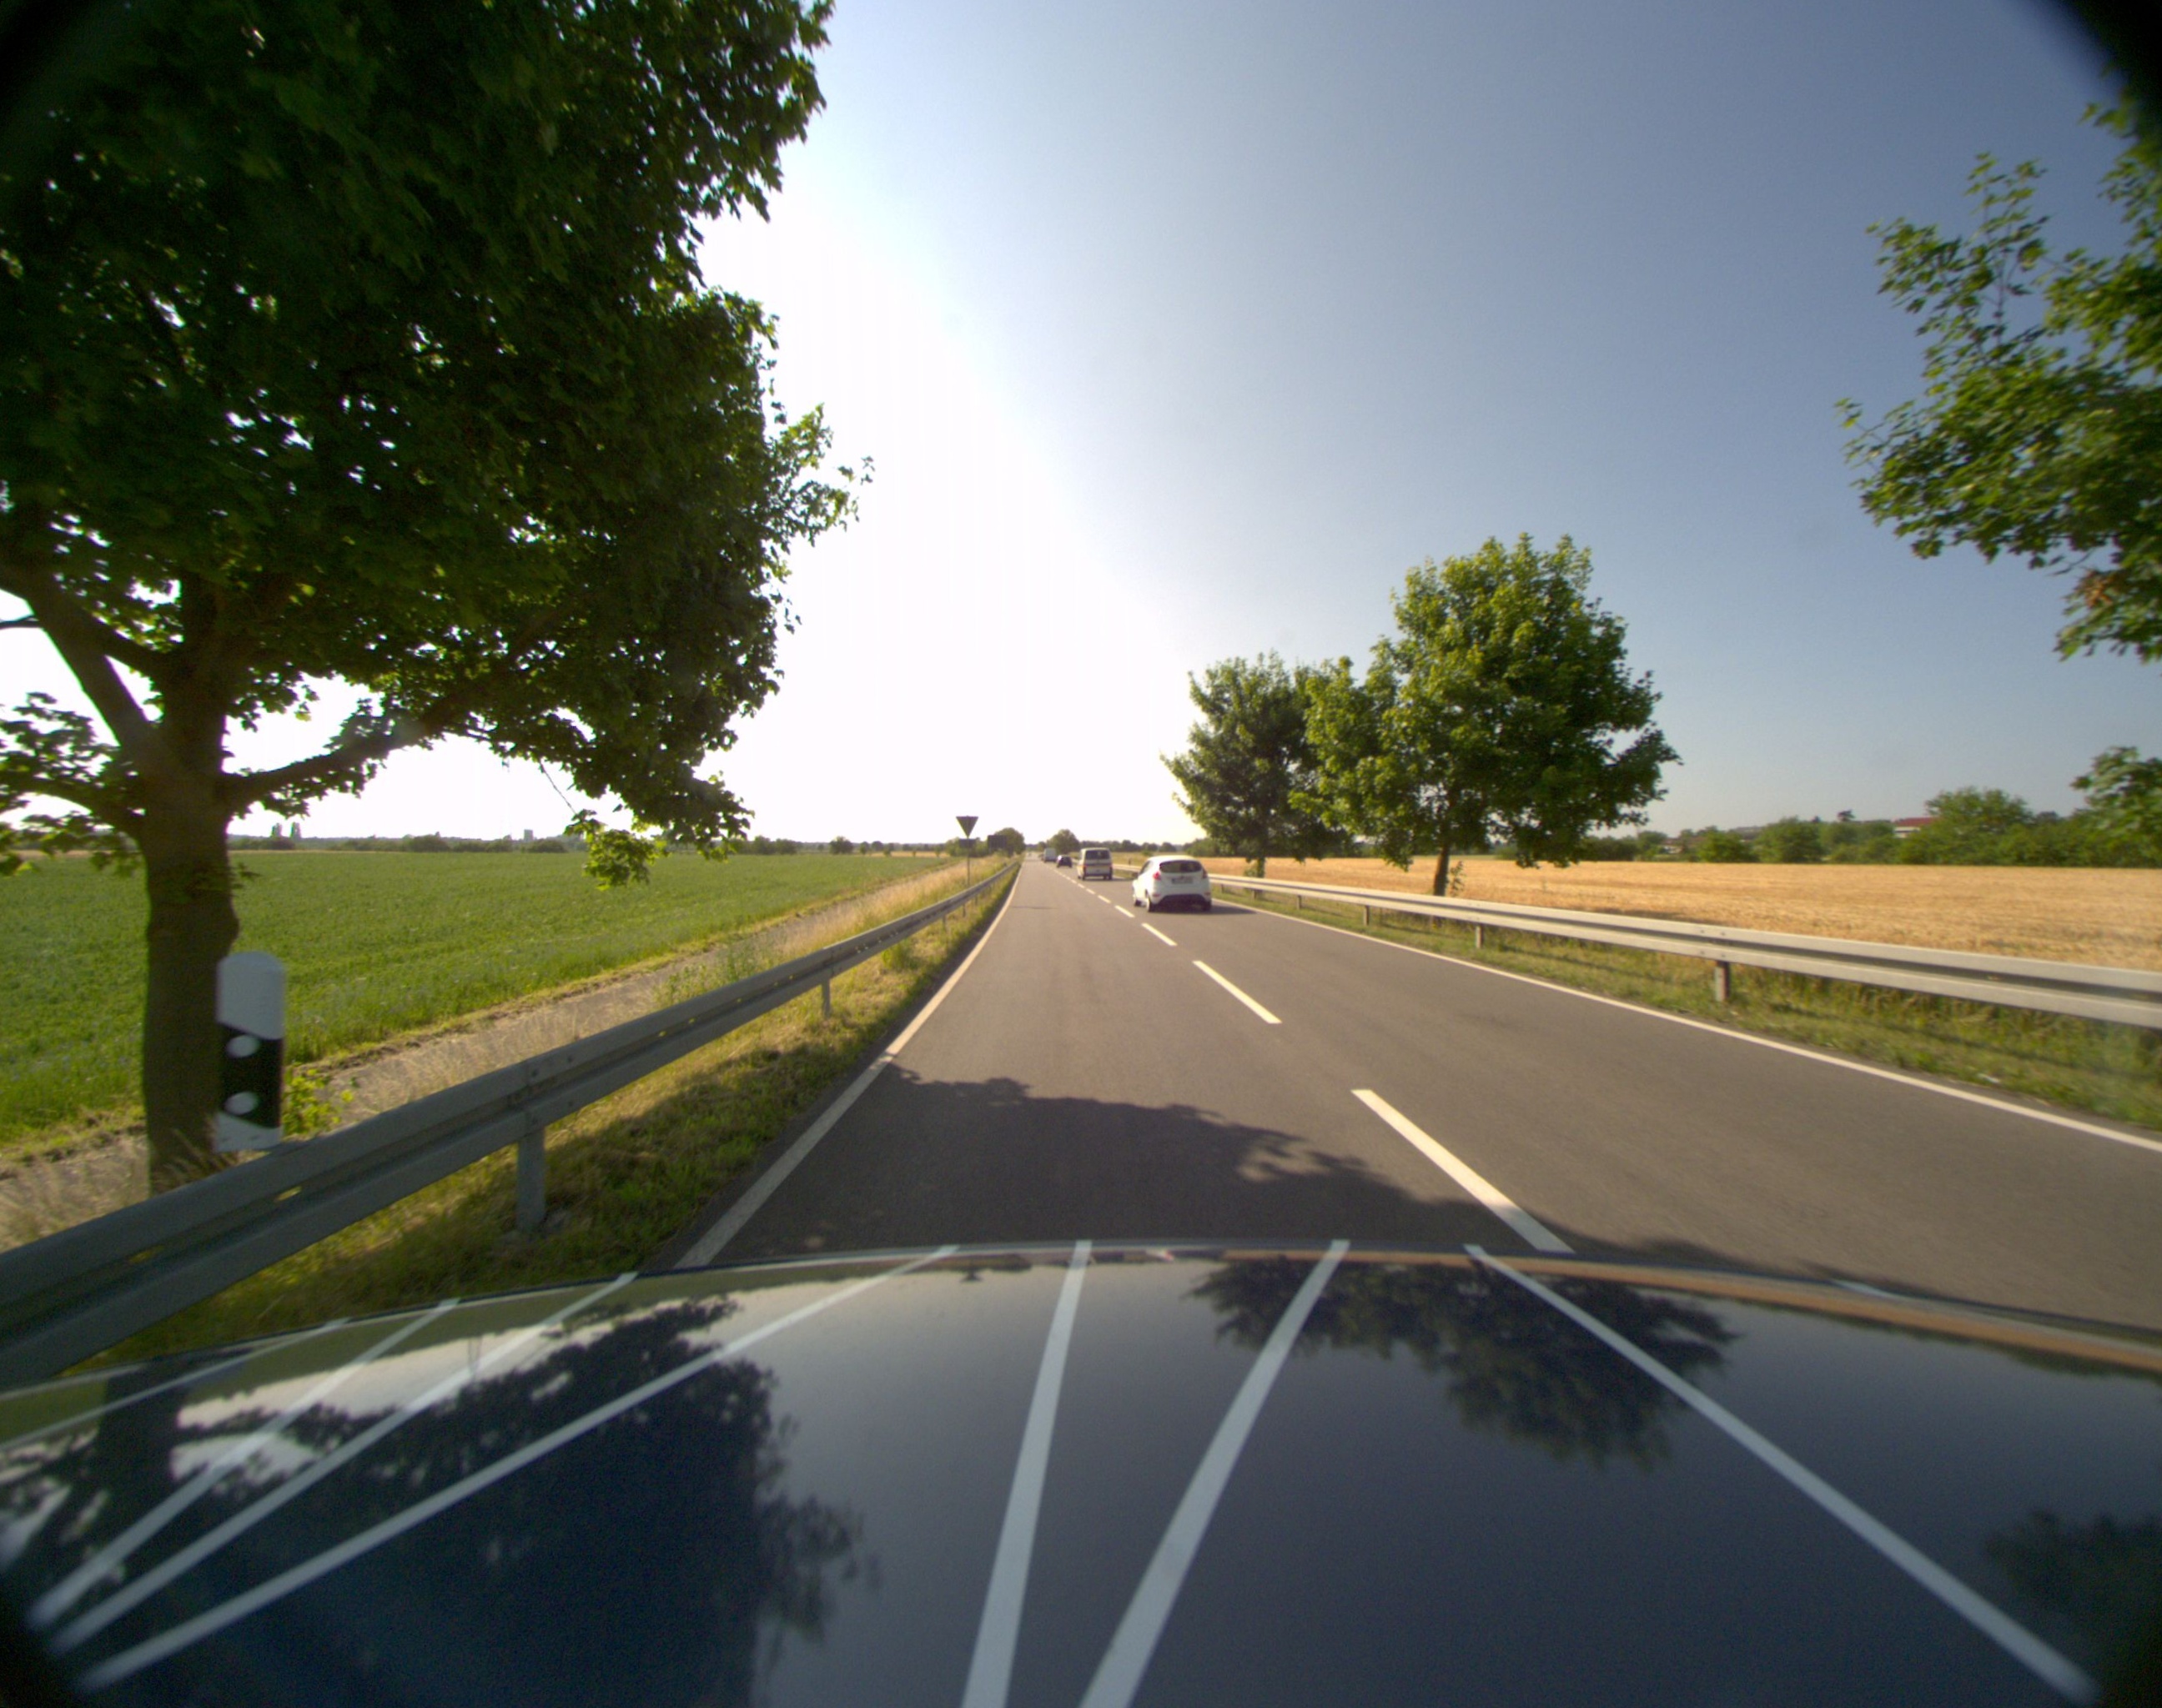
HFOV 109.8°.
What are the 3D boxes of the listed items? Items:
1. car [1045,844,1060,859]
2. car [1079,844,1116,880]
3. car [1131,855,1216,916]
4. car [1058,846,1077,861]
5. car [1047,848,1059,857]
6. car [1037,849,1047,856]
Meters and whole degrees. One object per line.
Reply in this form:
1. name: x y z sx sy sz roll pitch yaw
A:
1. car: -4.959 -0.422 132.682 2.405 2.561 5.371 0 2 -4
2. car: 0.967 0.454 47.177 1.917 2.002 4.780 -2 2 -3
3. car: 2.459 0.794 21.100 1.756 1.421 3.844 -2 1 -2
4. car: -1.611 -0.092 88.153 2.014 1.576 4.824 0 2 -4
5. car: -6.193 -0.365 166.681 2.405 1.680 5.370 0 3 -4
6. car: -9.823 -0.344 190.945 2.405 1.679 5.371 0 2 -4
